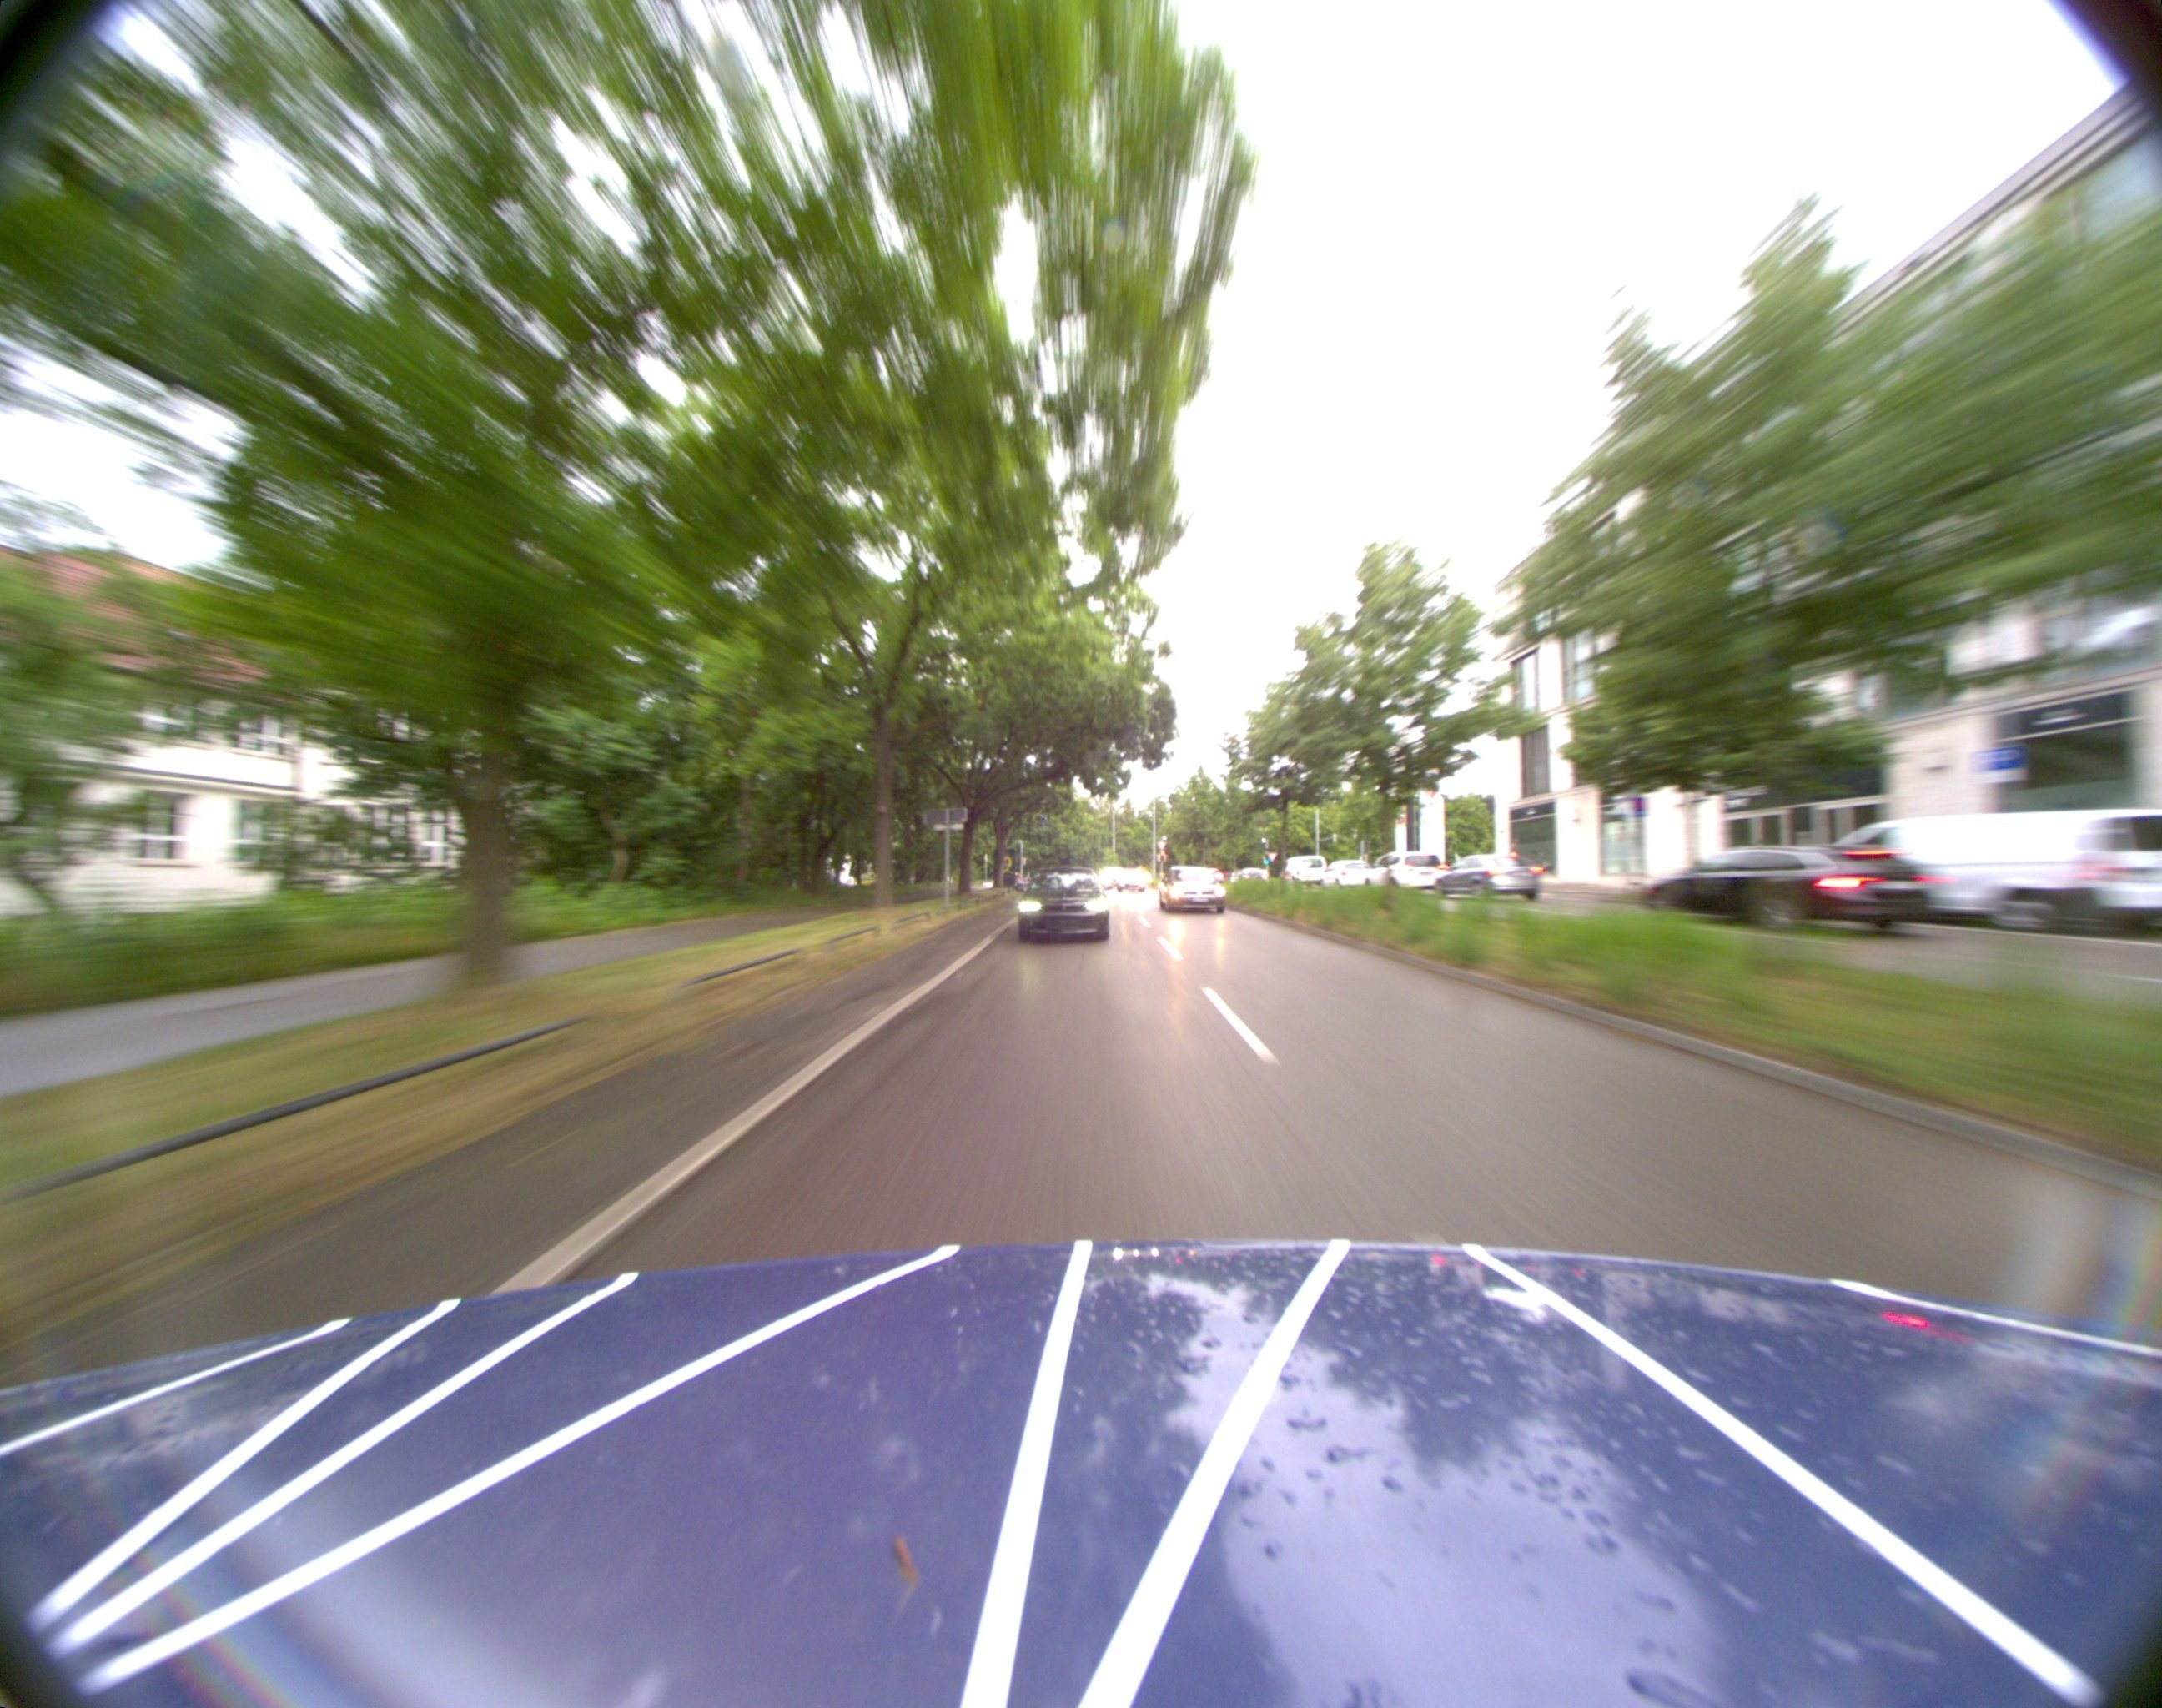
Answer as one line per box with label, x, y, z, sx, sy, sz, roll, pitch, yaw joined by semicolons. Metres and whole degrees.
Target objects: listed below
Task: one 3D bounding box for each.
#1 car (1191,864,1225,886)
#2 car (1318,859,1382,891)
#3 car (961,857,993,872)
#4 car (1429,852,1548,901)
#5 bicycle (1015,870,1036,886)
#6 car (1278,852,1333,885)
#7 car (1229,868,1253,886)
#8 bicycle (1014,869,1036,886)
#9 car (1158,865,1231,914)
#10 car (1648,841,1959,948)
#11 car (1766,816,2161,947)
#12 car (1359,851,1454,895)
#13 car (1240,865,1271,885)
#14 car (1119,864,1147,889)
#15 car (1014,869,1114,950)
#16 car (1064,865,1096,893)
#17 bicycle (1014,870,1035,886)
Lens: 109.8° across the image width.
car;9.983;1.664;59.974;1.853;1.565;4.167;-1;-3;0
car;13.013;0.971;37.039;1.748;1.459;4.061;1;0;1
car;-14.689;1.455;107.236;1.995;2.001;4.009;-3;-3;45
car;12.724;0.721;24.000;1.645;1.402;3.998;1;-2;1
bicycle;-4.084;1.777;55.750;1.490;1.124;0.556;3;-1;-6
car;13.119;0.908;44.689;1.848;1.791;4.775;-2;-3;1
car;14.834;2.178;70.525;1.654;1.566;3.704;0;-3;3
bicycle;-3.960;1.654;53.625;1.490;1.124;0.556;3;-1;-6
car;3.608;1.134;24.818;1.904;1.430;4.002;-2;-2;2
car;12.390;0.602;13.458;1.699;1.572;4.017;-2;0;1
car;15.329;0.388;13.168;2.127;1.805;5.260;-1;0;0
car;12.738;0.718;30.057;1.833;1.591;4.675;-1;0;1
car;13.457;1.630;58.900;1.718;1.451;3.753;0;-3;3
car;3.315;1.447;48.203;1.669;1.520;3.660;-1;-2;5
car;-0.344;1.073;16.350;1.804;1.422;4.520;-2;-1;-1
car;-0.103;1.472;44.012;1.645;1.511;3.579;-1;-2;-4
bicycle;-4.050;1.711;54.596;1.490;1.124;0.556;3;-1;-6
